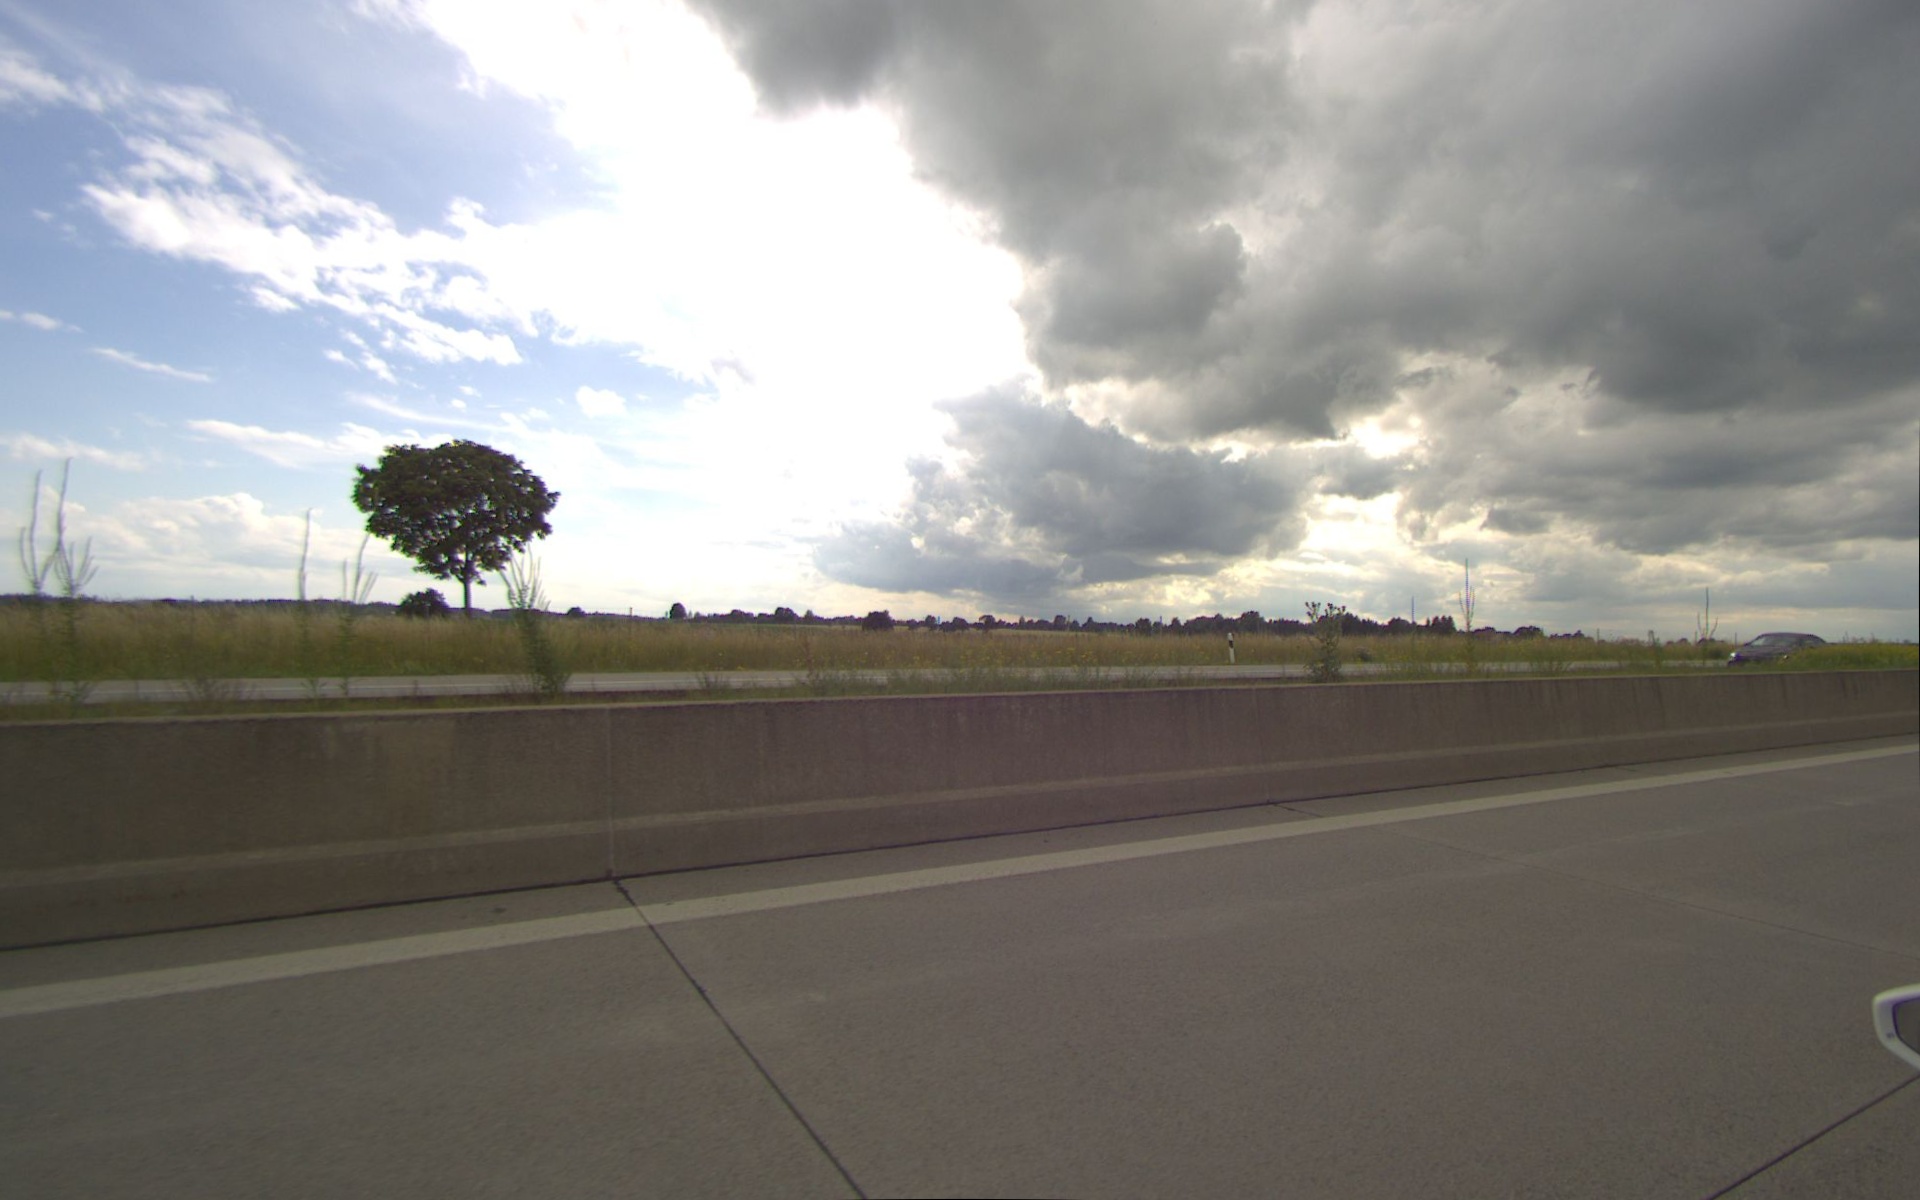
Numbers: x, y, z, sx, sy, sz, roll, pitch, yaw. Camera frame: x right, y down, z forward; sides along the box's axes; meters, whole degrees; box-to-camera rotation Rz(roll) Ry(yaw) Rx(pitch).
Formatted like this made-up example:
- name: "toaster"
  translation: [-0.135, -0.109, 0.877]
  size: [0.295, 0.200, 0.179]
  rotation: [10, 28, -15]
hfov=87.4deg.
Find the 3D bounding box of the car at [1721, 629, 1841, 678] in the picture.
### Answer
- name: "car"
  translation: [27.441, 1.766, 33.570]
  size: [3.953, 1.483, 1.848]
  rotation: [2, -1, -30]
